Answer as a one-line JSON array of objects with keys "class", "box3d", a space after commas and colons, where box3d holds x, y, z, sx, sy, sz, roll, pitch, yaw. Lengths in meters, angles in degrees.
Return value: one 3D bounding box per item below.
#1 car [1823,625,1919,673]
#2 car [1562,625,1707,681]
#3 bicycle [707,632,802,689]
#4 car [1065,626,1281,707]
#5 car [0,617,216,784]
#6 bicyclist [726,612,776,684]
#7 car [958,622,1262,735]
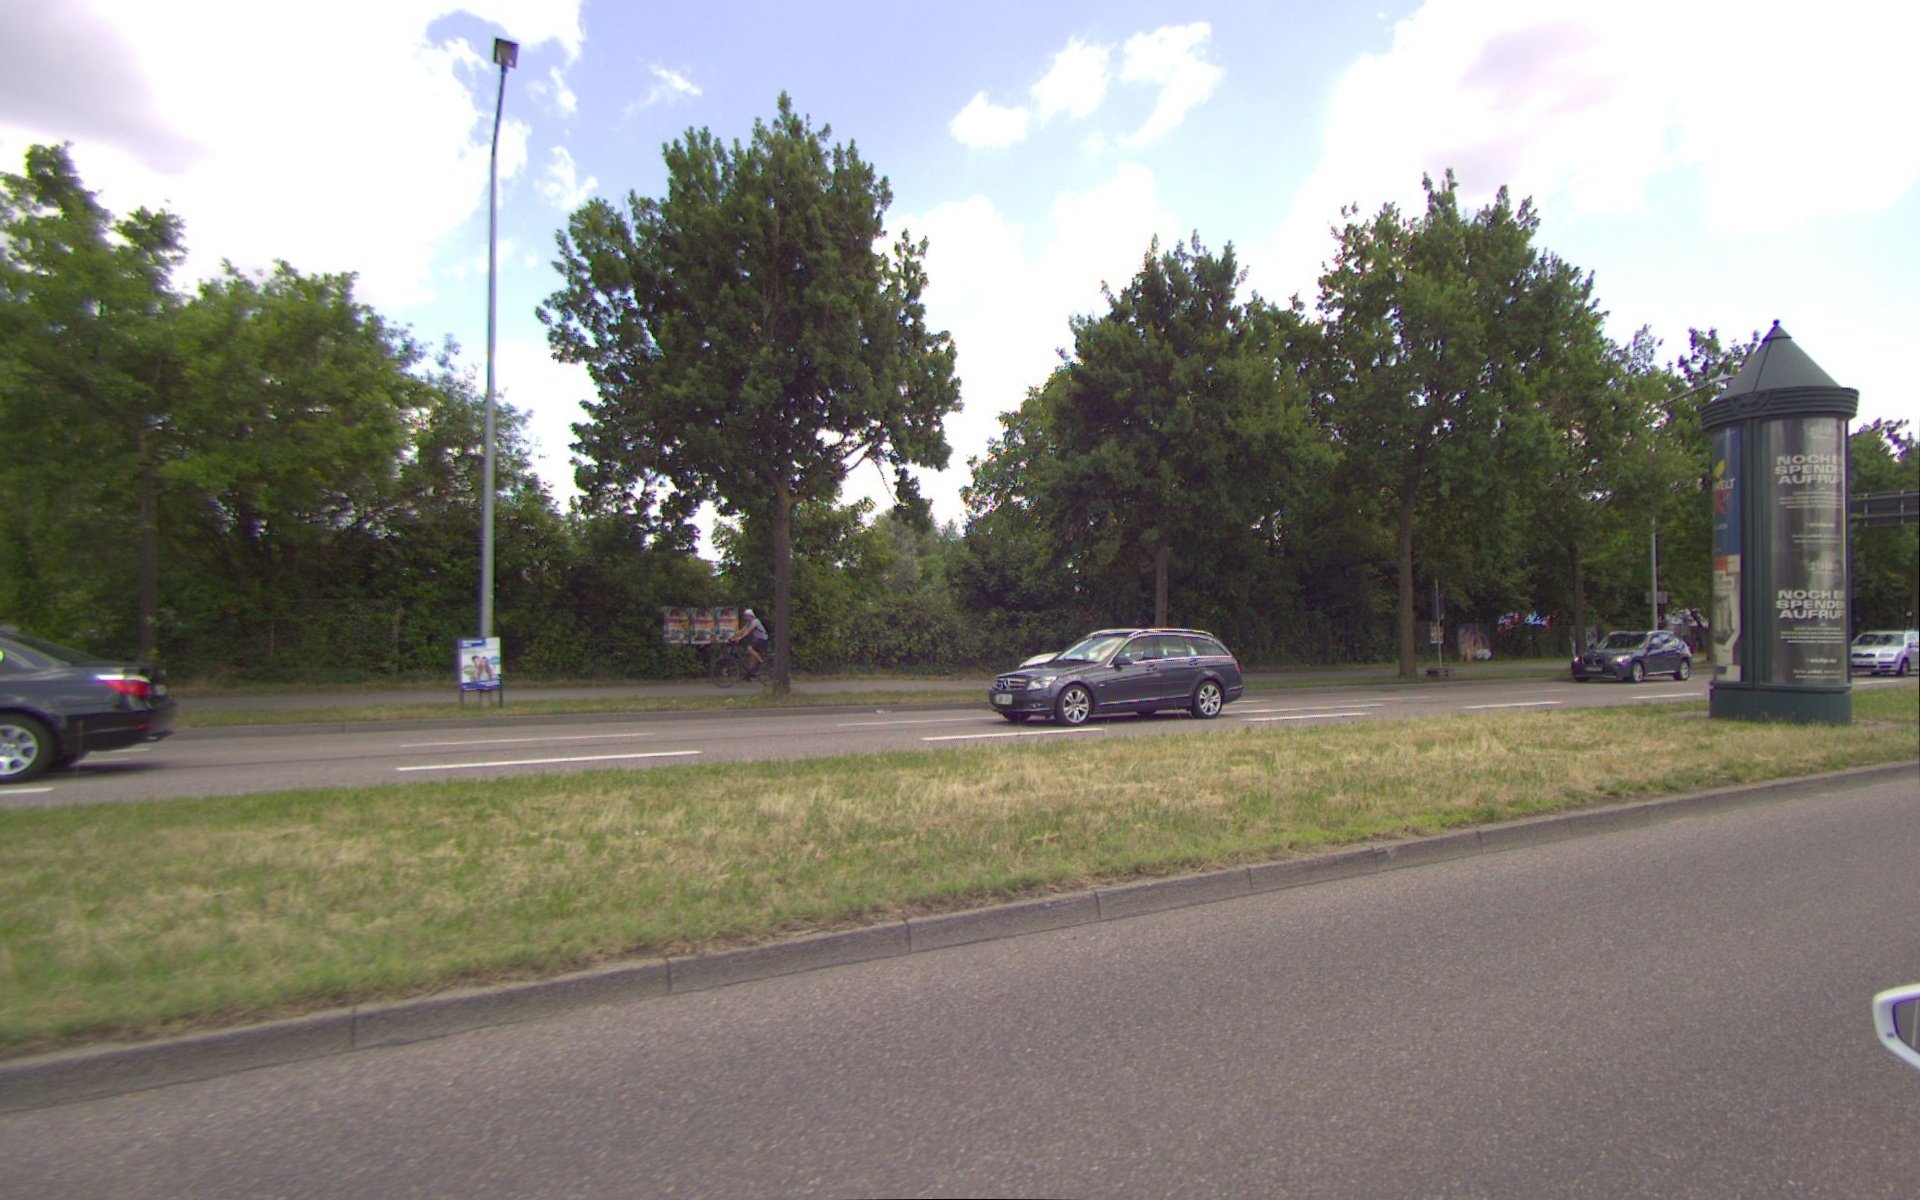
[{"class": "car", "box3d": [30.056, 1.553, 32.612, 4.258, 1.459, 1.755, 1, -2, -30]}, {"class": "car", "box3d": [20.810, 1.597, 30.952, 4.973, 1.598, 1.755, 1, -2, -31]}, {"class": "bicycle", "box3d": [-4.715, 1.375, 23.126, 1.993, 1.235, 0.757, 1, 1, -30]}, {"class": "car", "box3d": [4.515, 1.336, 21.179, 4.317, 1.561, 1.901, 1, -2, -30]}, {"class": "car", "box3d": [-9.960, 0.925, 9.297, 4.697, 1.499, 1.830, 1, -3, -30]}, {"class": "bicyclist", "box3d": [-4.799, 1.082, 23.062, 0.873, 1.586, 0.826, 1, 1, -30]}, {"class": "car", "box3d": [2.520, 1.188, 16.410, 4.954, 1.612, 1.714, 1, -2, -30]}]
